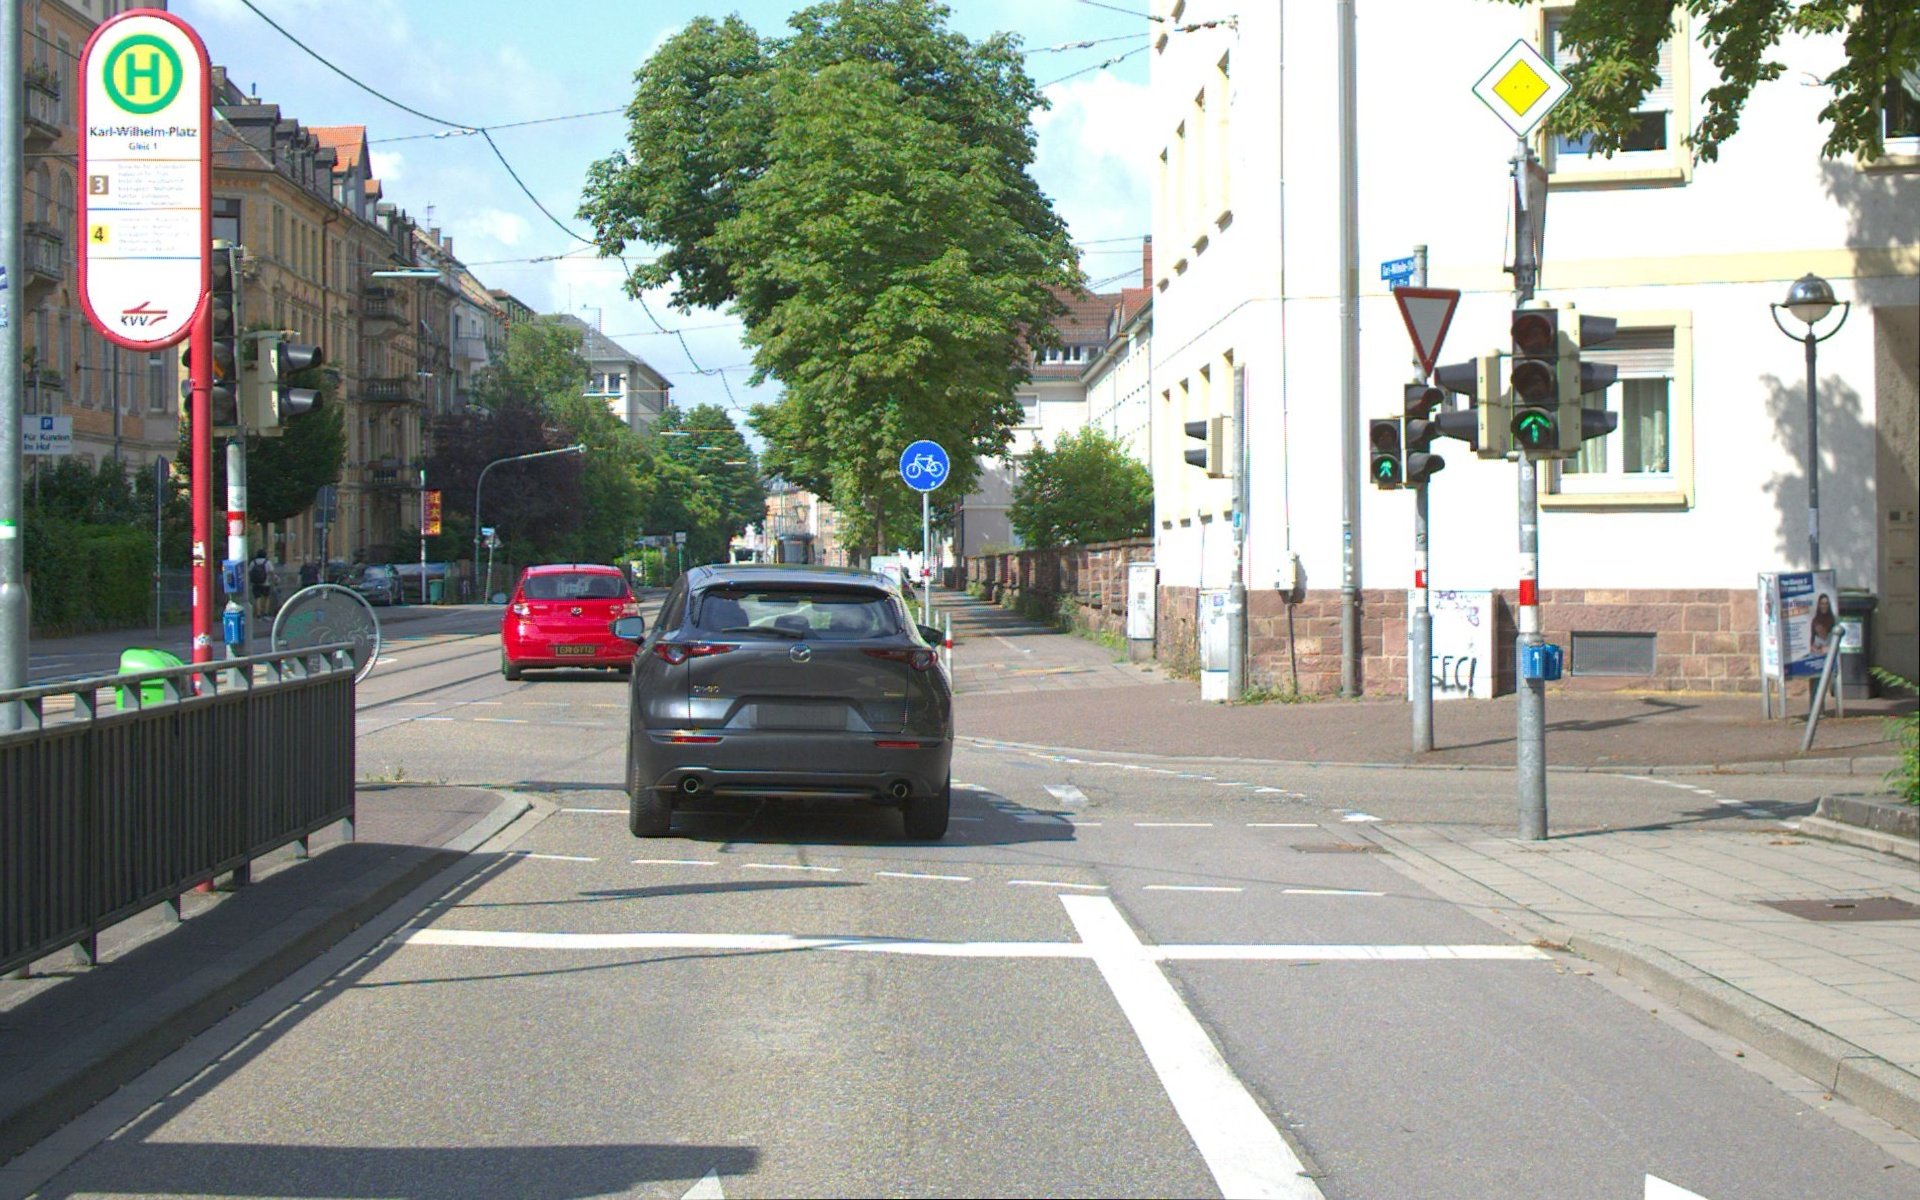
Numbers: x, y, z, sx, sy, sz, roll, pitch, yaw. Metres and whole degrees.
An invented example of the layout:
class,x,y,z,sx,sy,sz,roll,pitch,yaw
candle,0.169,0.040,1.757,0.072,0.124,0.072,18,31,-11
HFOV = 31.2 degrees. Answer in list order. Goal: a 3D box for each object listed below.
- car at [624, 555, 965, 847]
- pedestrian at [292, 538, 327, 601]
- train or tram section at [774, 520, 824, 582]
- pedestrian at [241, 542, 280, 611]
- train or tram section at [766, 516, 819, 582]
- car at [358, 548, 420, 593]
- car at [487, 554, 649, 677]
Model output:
class,x,y,z,sx,sy,sz,roll,pitch,yaw
car,-1.071,0.520,20.464,1.782,1.509,4.001,2,1,-5
pedestrian,-17.430,-0.811,92.107,0.788,1.682,0.732,0,1,1
train or tram section,-10.793,-3.233,231.593,2.997,3.970,13.809,0,0,-1
pedestrian,-16.990,-0.577,83.543,0.788,1.682,0.732,0,1,1
train or tram section,-10.554,-3.178,217.746,2.997,3.970,13.809,0,0,-1
car,-20.506,-1.076,123.478,1.657,1.590,3.930,0,1,-2
car,-5.092,0.173,44.329,1.774,1.459,3.843,1,1,-11
